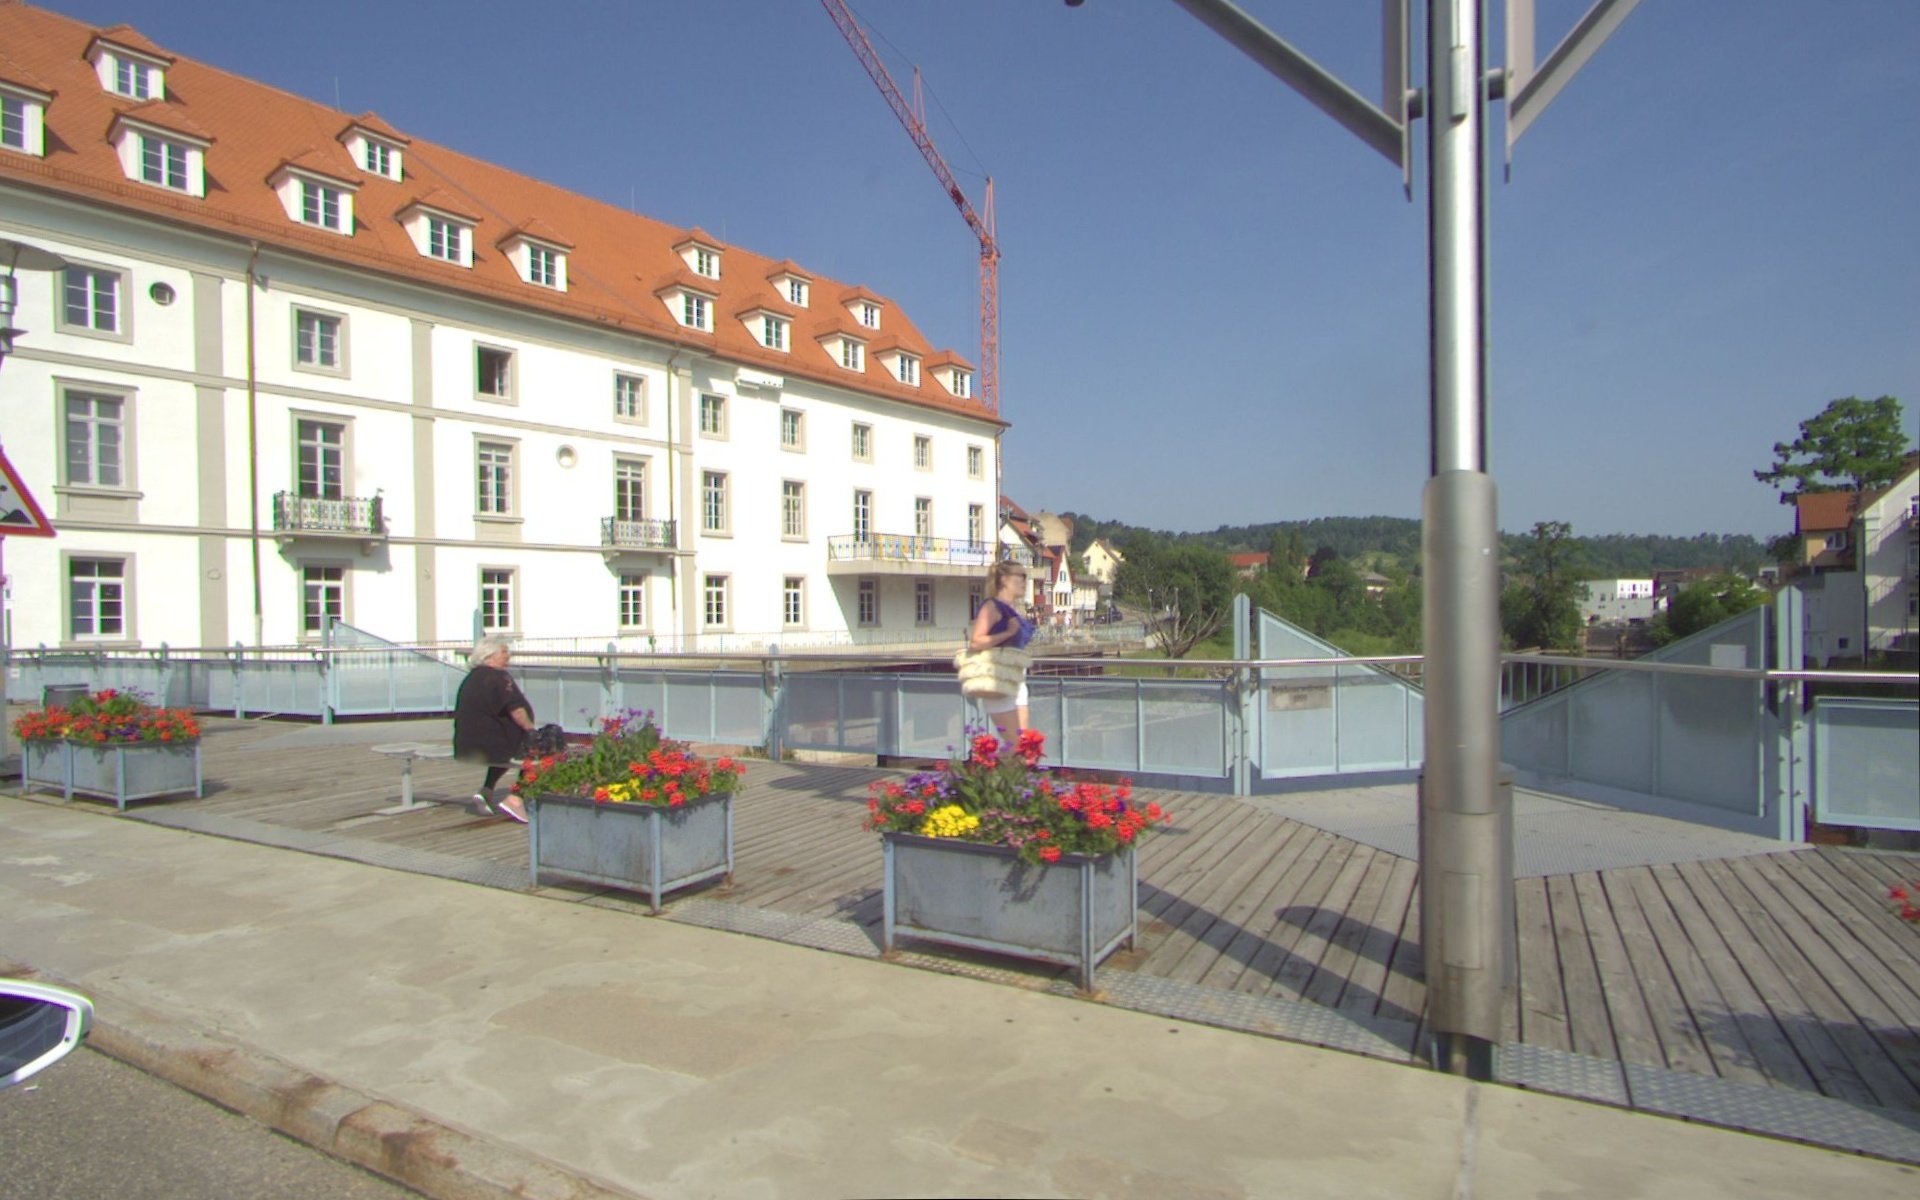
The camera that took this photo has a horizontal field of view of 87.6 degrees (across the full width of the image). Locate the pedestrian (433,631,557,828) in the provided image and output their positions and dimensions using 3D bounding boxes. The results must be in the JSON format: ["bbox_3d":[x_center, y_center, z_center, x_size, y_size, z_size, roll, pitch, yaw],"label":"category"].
[{"bbox_3d":[-3.141,0.844,6.776,0.616,1.260,0.451,-1,0,24],"label":"pedestrian"}]

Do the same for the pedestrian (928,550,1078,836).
[{"bbox_3d":[0.295,0.574,6.599,0.736,1.746,0.725,0,0,29],"label":"pedestrian"}]
